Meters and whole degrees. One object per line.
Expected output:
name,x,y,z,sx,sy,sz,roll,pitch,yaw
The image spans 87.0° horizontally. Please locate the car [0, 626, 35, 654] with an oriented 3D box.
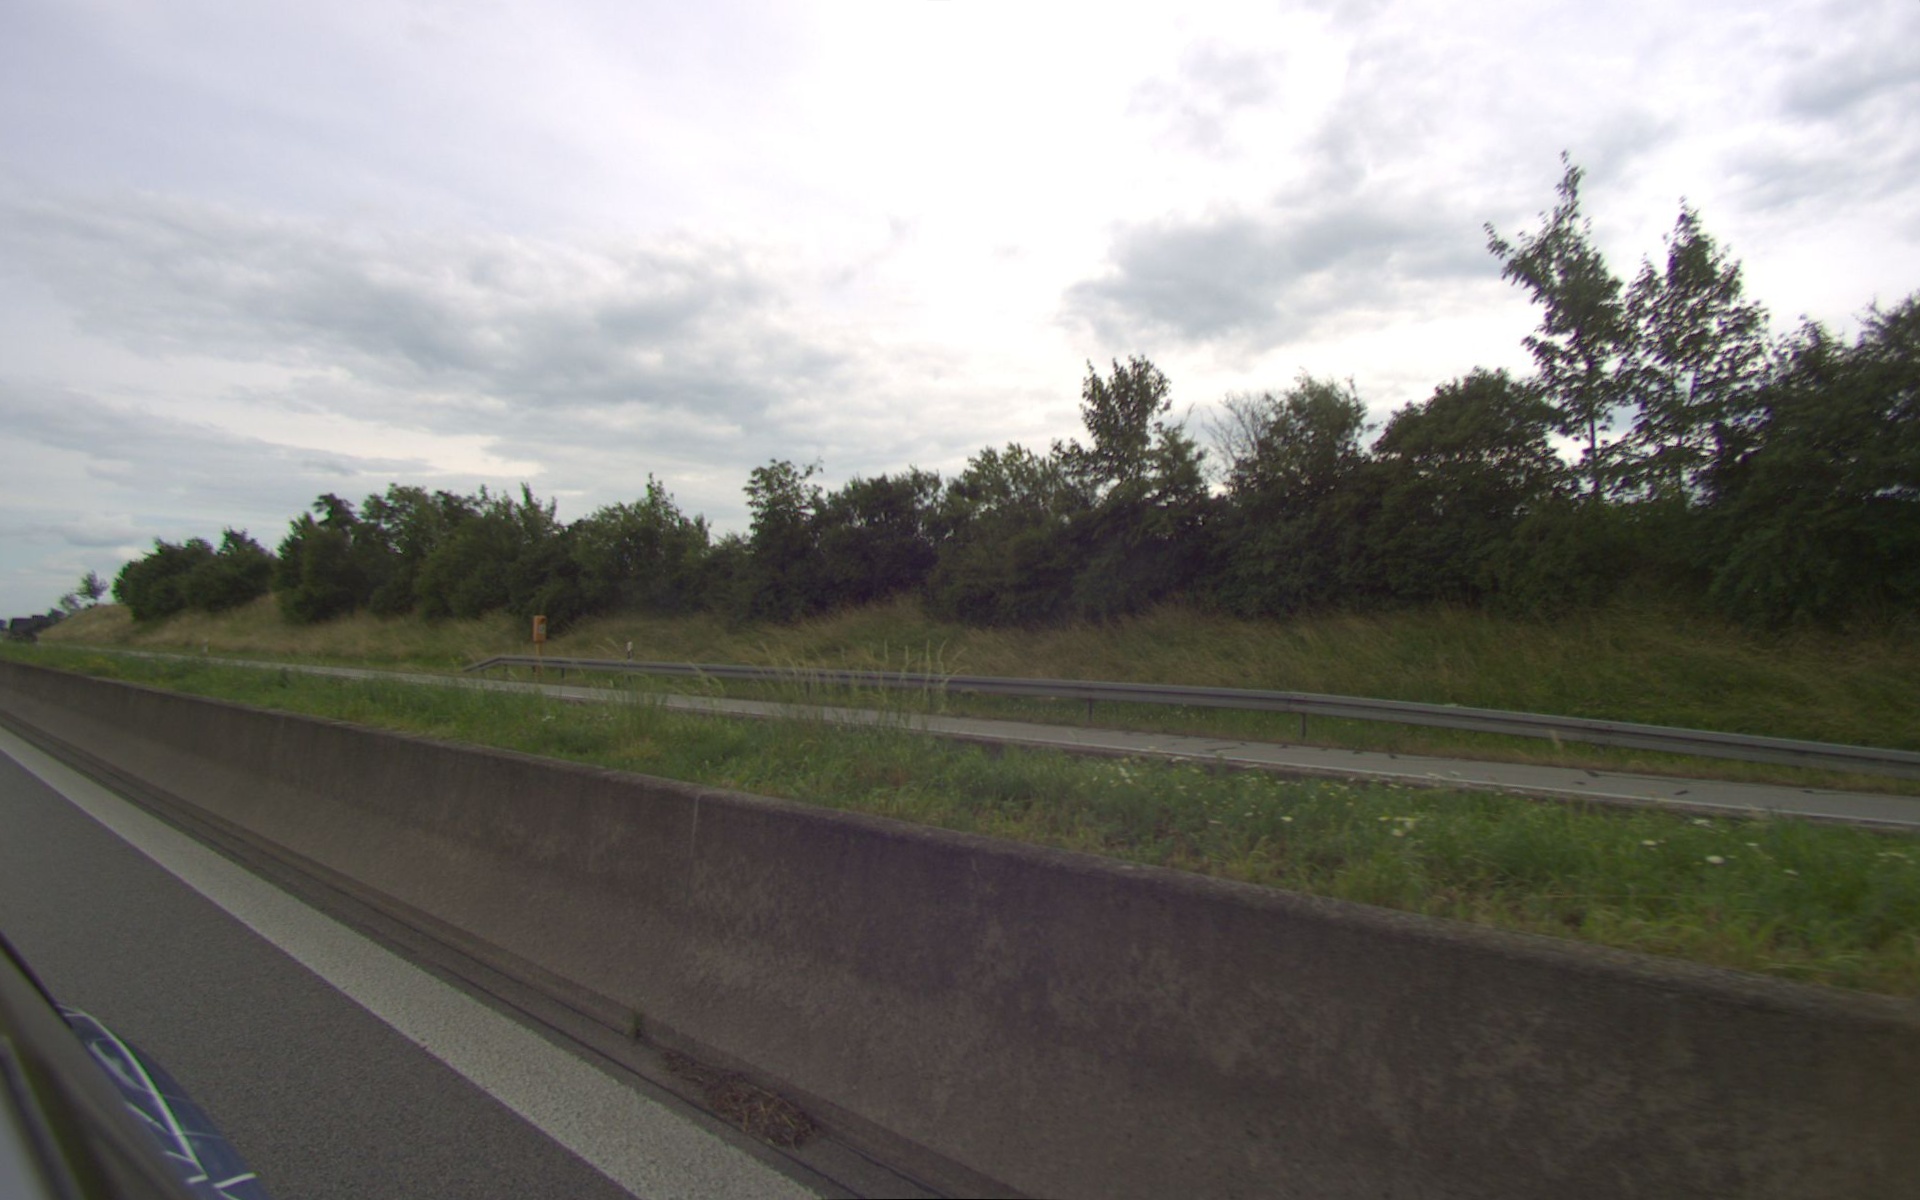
car,-85.323,3.587,91.188,6.721,2.484,2.146,-2,-4,42
